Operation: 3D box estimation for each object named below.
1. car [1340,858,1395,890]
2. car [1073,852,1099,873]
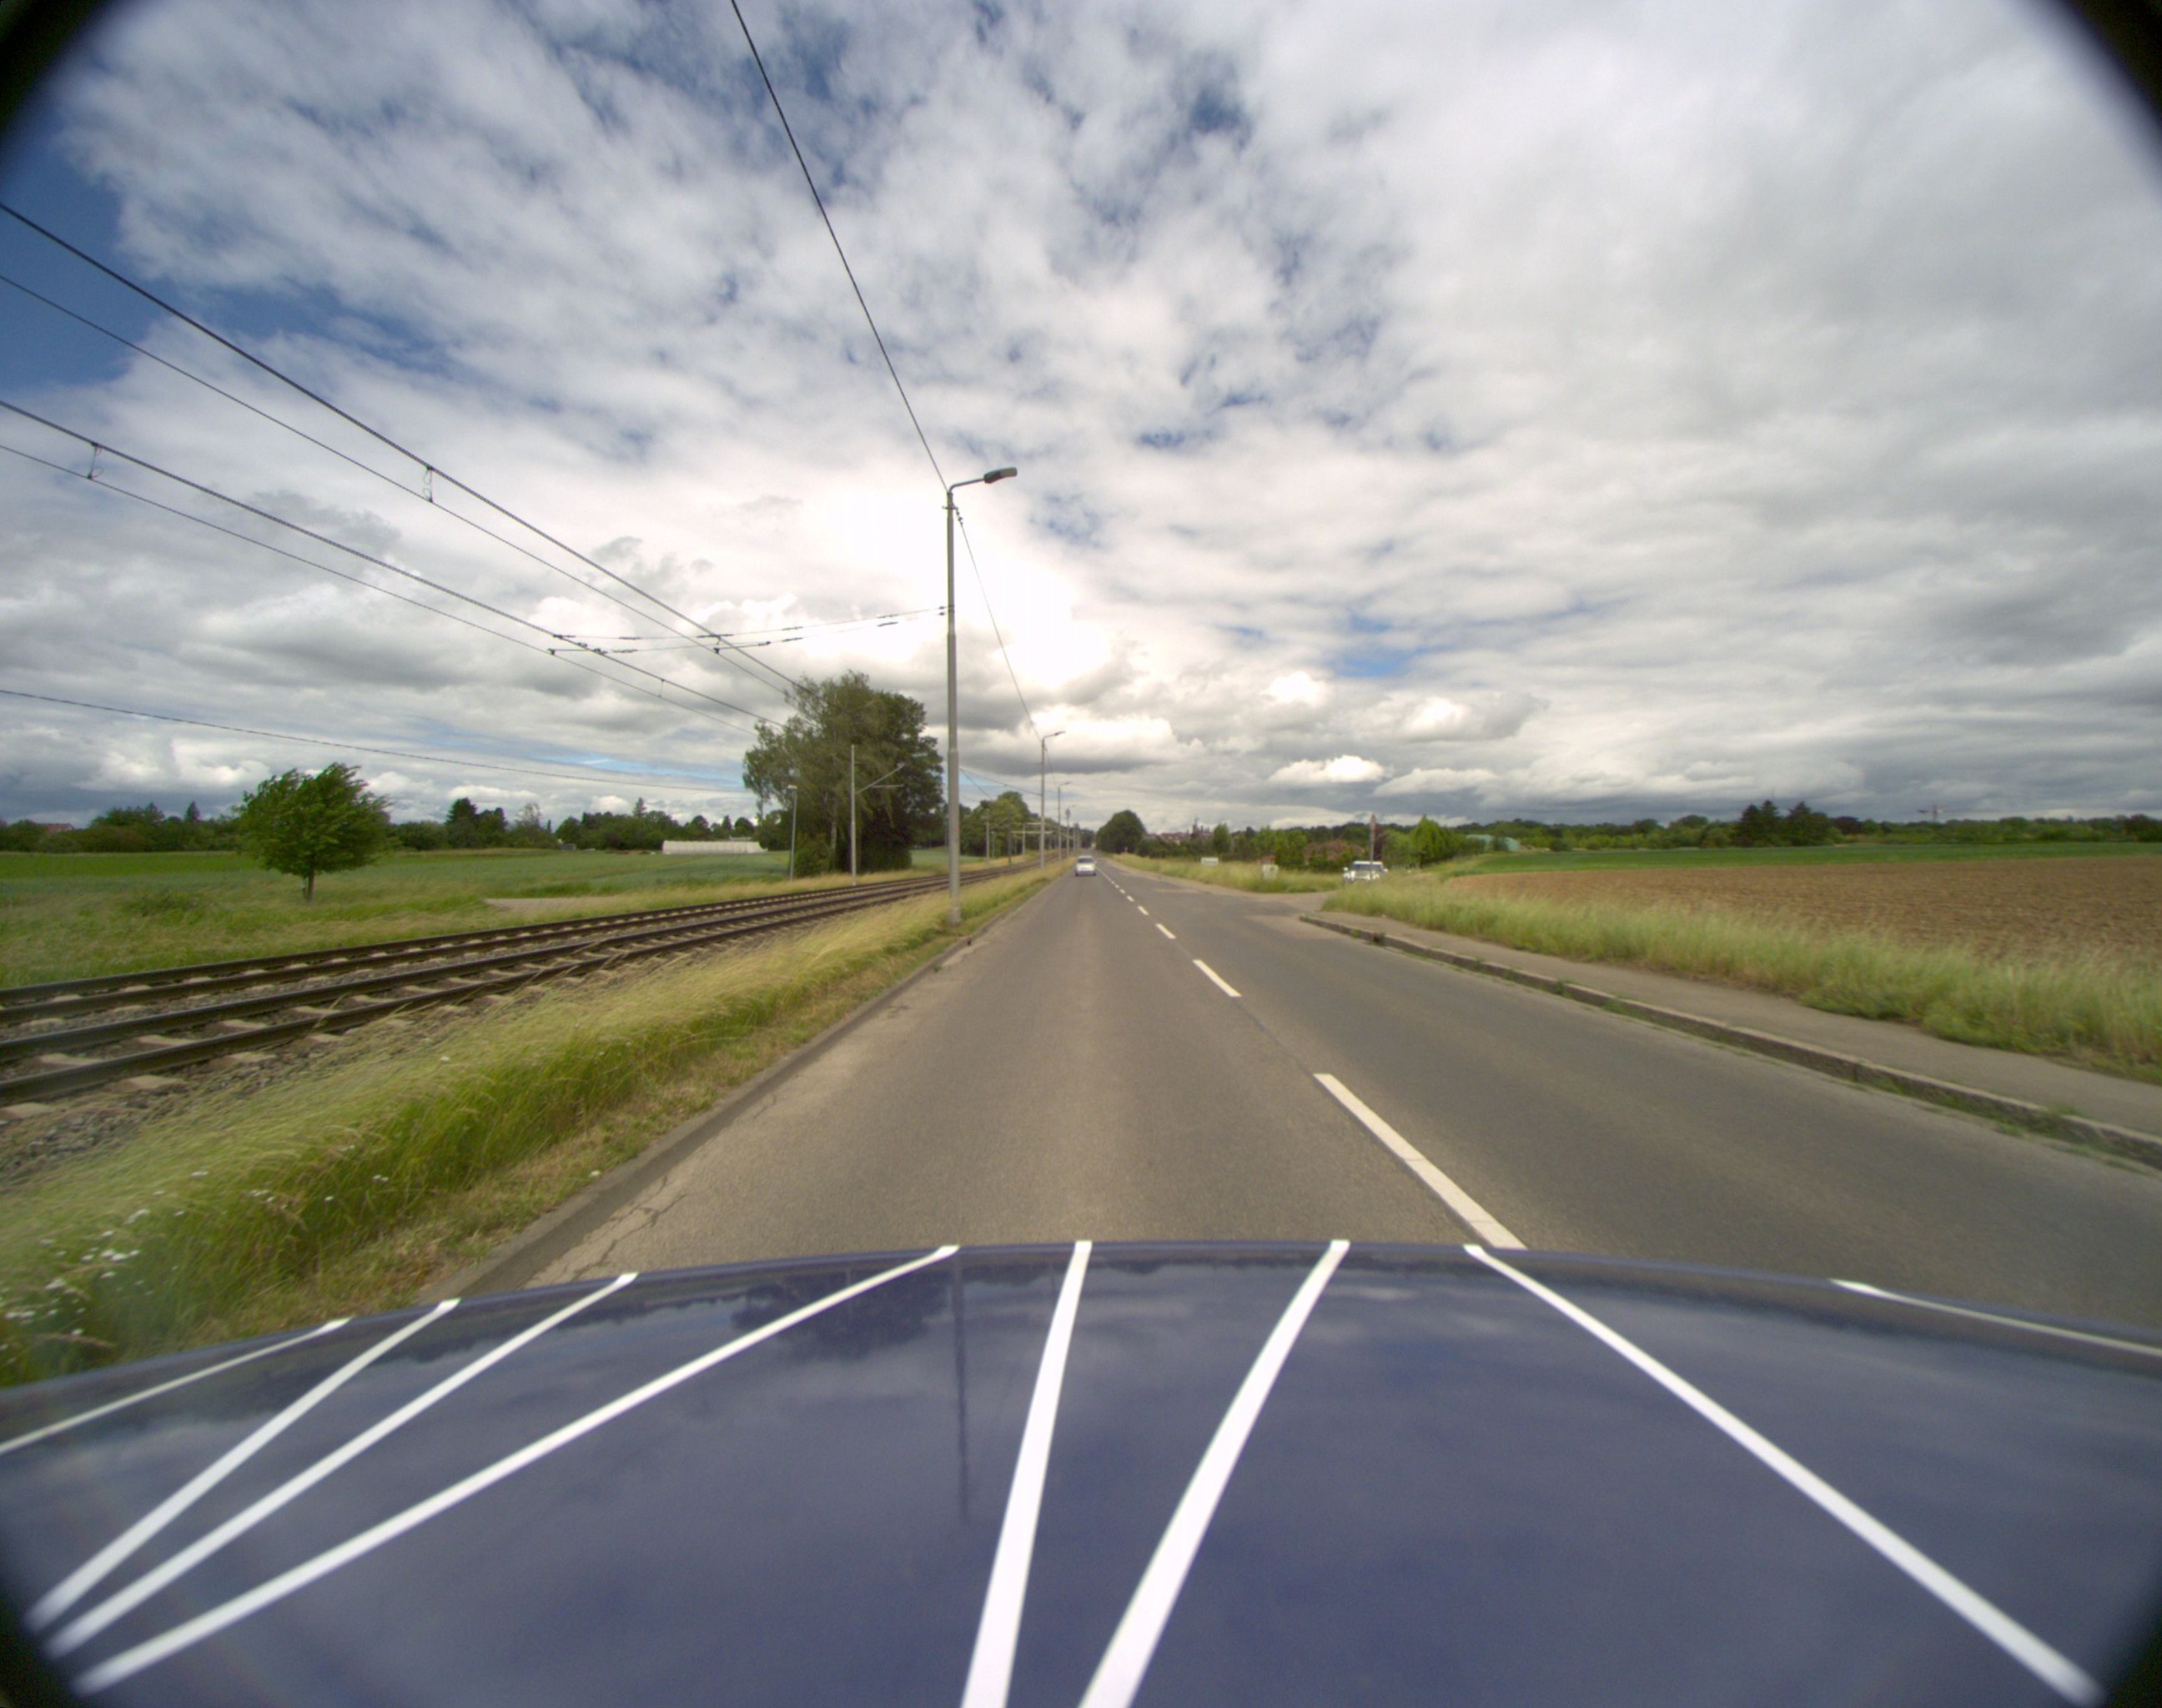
[{"bbox_3d":[13.879,0.923,36.693,1.970,1.445,4.008,0,0,28],"label":"car"},{"bbox_3d":[0.389,0.697,63.081,1.999,1.679,3.999,0,1,-1],"label":"car"}]
